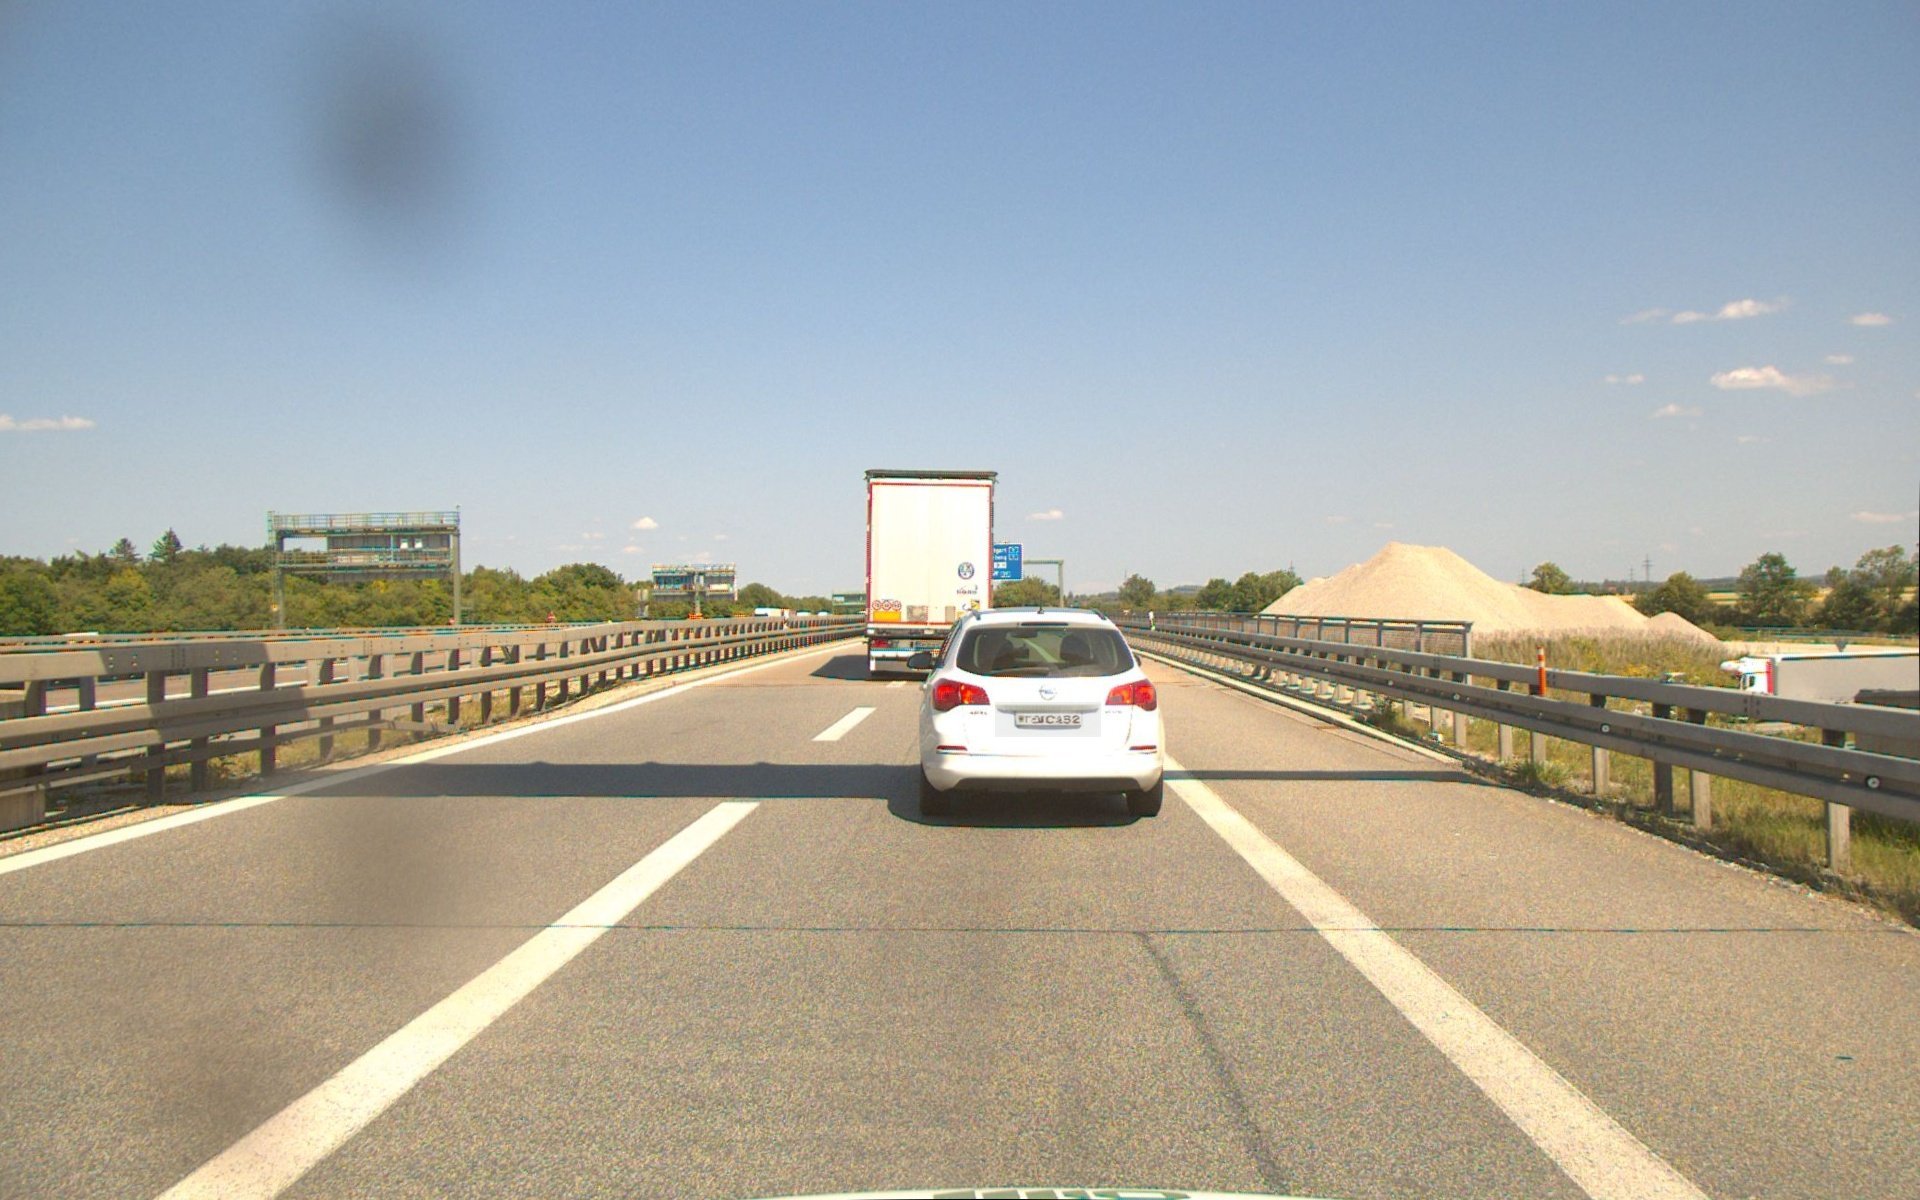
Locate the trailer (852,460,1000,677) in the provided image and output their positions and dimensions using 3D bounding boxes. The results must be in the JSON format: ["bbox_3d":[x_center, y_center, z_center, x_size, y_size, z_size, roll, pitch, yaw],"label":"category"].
[{"bbox_3d":[-0.774,-0.495,37.899,2.853,4.218,11.253,0,-1,-1],"label":"trailer"}]

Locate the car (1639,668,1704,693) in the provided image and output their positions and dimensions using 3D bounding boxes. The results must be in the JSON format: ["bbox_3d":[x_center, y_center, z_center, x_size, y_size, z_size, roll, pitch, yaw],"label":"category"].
[{"bbox_3d":[54.223,6.154,126.088,4.039,1.638,1.995,3,-1,-10],"label":"car"}]

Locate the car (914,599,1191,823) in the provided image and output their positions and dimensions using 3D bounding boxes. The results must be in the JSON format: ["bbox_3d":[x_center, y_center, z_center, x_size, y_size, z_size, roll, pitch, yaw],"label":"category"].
[{"bbox_3d":[0.649,0.747,13.071,1.816,1.468,4.372,0,-1,1],"label":"car"}]

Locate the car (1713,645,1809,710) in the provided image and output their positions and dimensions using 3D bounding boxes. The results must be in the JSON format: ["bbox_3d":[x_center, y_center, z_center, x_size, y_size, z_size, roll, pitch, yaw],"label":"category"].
[{"bbox_3d":[51.302,4.932,106.014,5.047,4.033,2.478,1,-1,-9],"label":"car"}]

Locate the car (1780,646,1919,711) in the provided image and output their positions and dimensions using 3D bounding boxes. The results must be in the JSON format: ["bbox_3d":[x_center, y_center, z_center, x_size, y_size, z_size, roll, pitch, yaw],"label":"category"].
[{"bbox_3d":[59.817,5.091,107.346,12.729,4.033,2.478,1,-1,-9],"label":"car"}]
